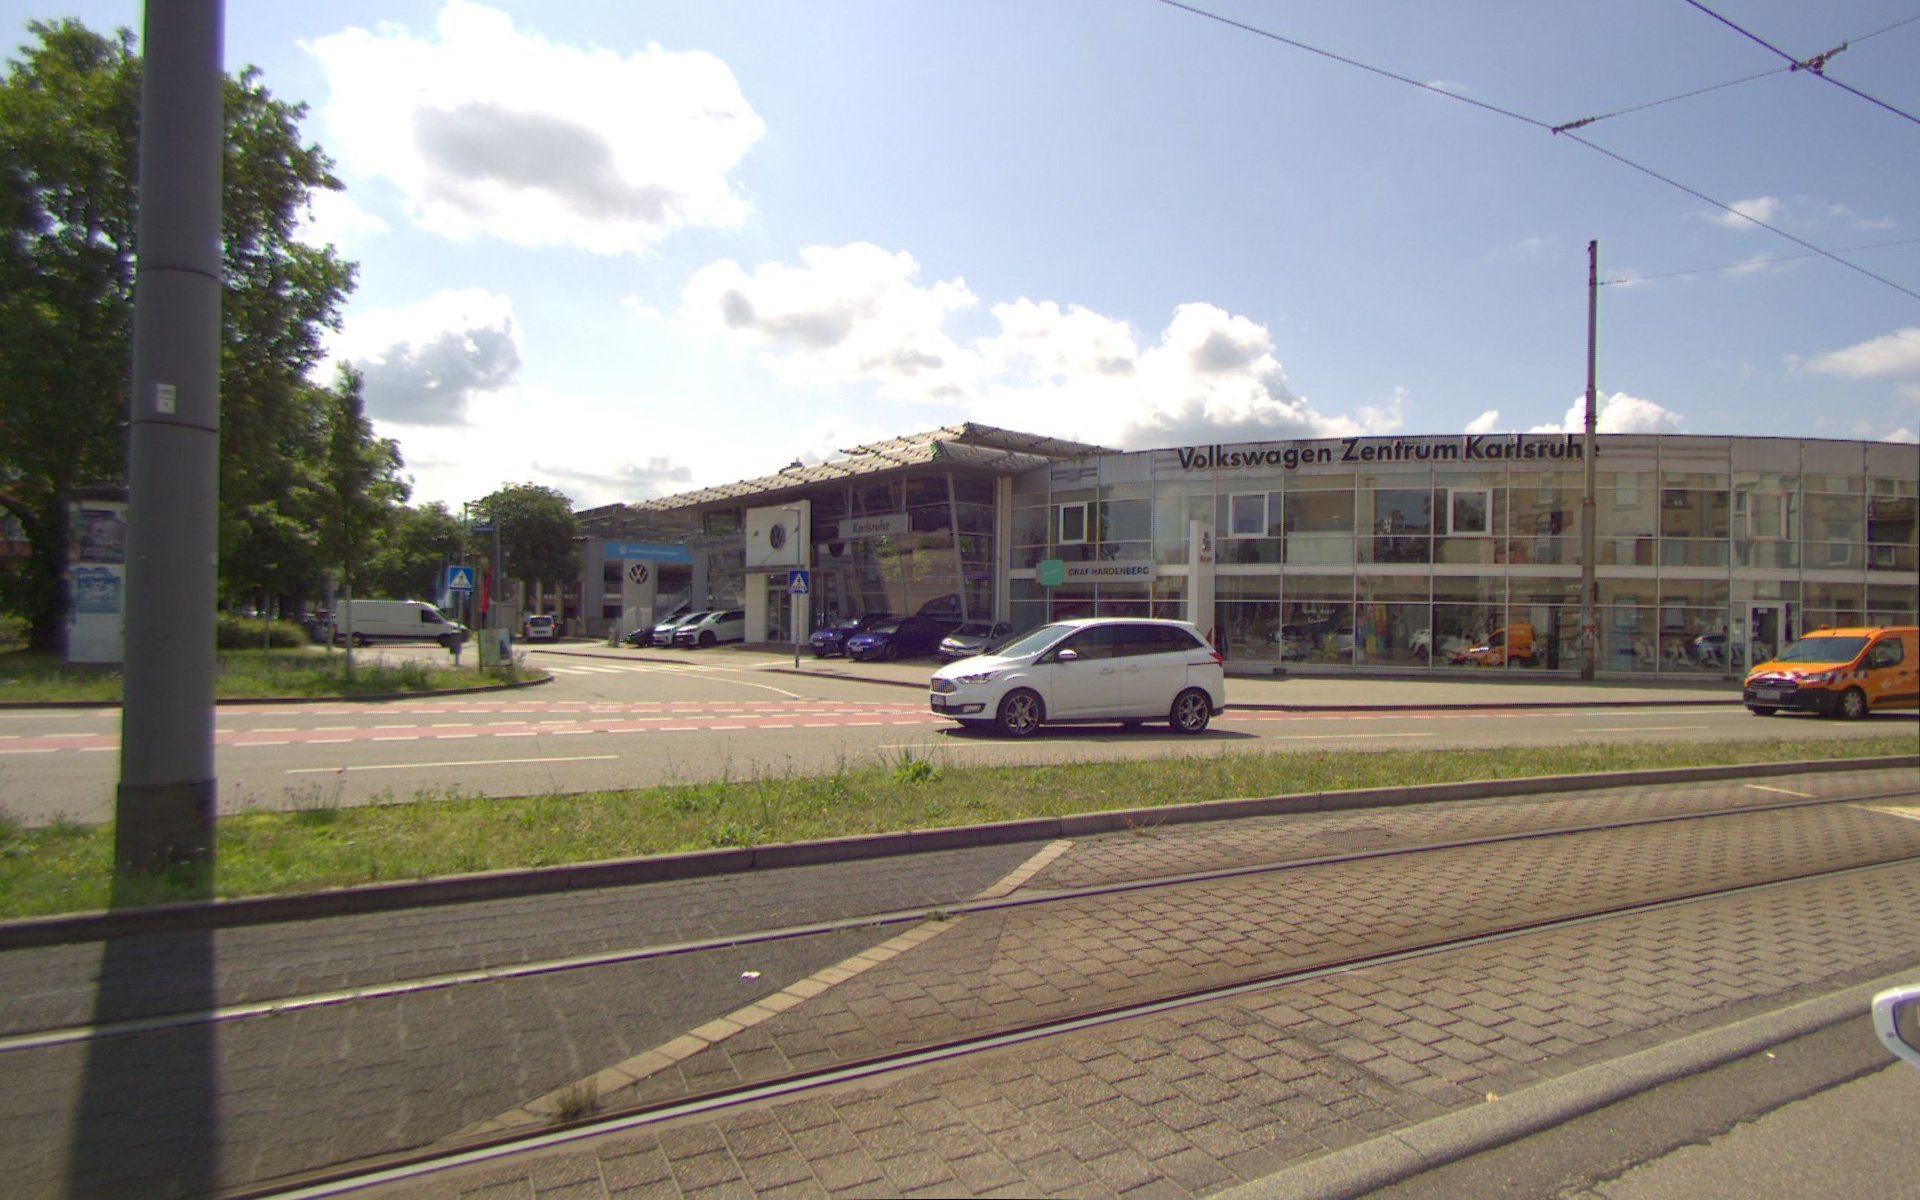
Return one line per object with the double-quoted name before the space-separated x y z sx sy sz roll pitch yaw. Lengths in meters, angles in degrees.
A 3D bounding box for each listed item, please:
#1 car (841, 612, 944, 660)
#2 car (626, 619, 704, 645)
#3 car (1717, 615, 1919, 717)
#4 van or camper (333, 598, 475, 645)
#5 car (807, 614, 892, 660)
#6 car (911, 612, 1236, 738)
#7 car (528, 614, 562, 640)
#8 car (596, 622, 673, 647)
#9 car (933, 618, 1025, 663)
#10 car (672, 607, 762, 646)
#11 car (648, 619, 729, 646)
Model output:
"car" -2.379 1.258 36.326 1.634 1.494 3.771 1 2 38
"car" -15.015 1.636 51.247 1.533 1.262 3.624 0 -1 38
"car" 17.837 1.281 20.195 4.293 1.890 1.912 1 -2 -14
"van or camper" -31.366 1.242 56.941 6.573 2.532 2.571 1 -1 -16
"car" -4.210 1.394 38.803 1.742 1.695 3.639 0 -1 21
"car" 1.675 1.018 14.642 4.430 1.625 1.762 1 -1 -24
"car" -27.370 1.754 66.326 1.971 1.639 3.979 1 -1 -22
"car" -17.172 1.790 53.051 1.533 1.262 3.624 0 -1 38
"car" 0.732 1.406 35.720 1.800 1.466 3.943 0 -1 25
"car" -11.524 1.240 47.787 3.837 1.798 1.679 1 -1 -43
"car" -13.386 1.605 49.607 1.535 1.262 3.620 0 -1 42
